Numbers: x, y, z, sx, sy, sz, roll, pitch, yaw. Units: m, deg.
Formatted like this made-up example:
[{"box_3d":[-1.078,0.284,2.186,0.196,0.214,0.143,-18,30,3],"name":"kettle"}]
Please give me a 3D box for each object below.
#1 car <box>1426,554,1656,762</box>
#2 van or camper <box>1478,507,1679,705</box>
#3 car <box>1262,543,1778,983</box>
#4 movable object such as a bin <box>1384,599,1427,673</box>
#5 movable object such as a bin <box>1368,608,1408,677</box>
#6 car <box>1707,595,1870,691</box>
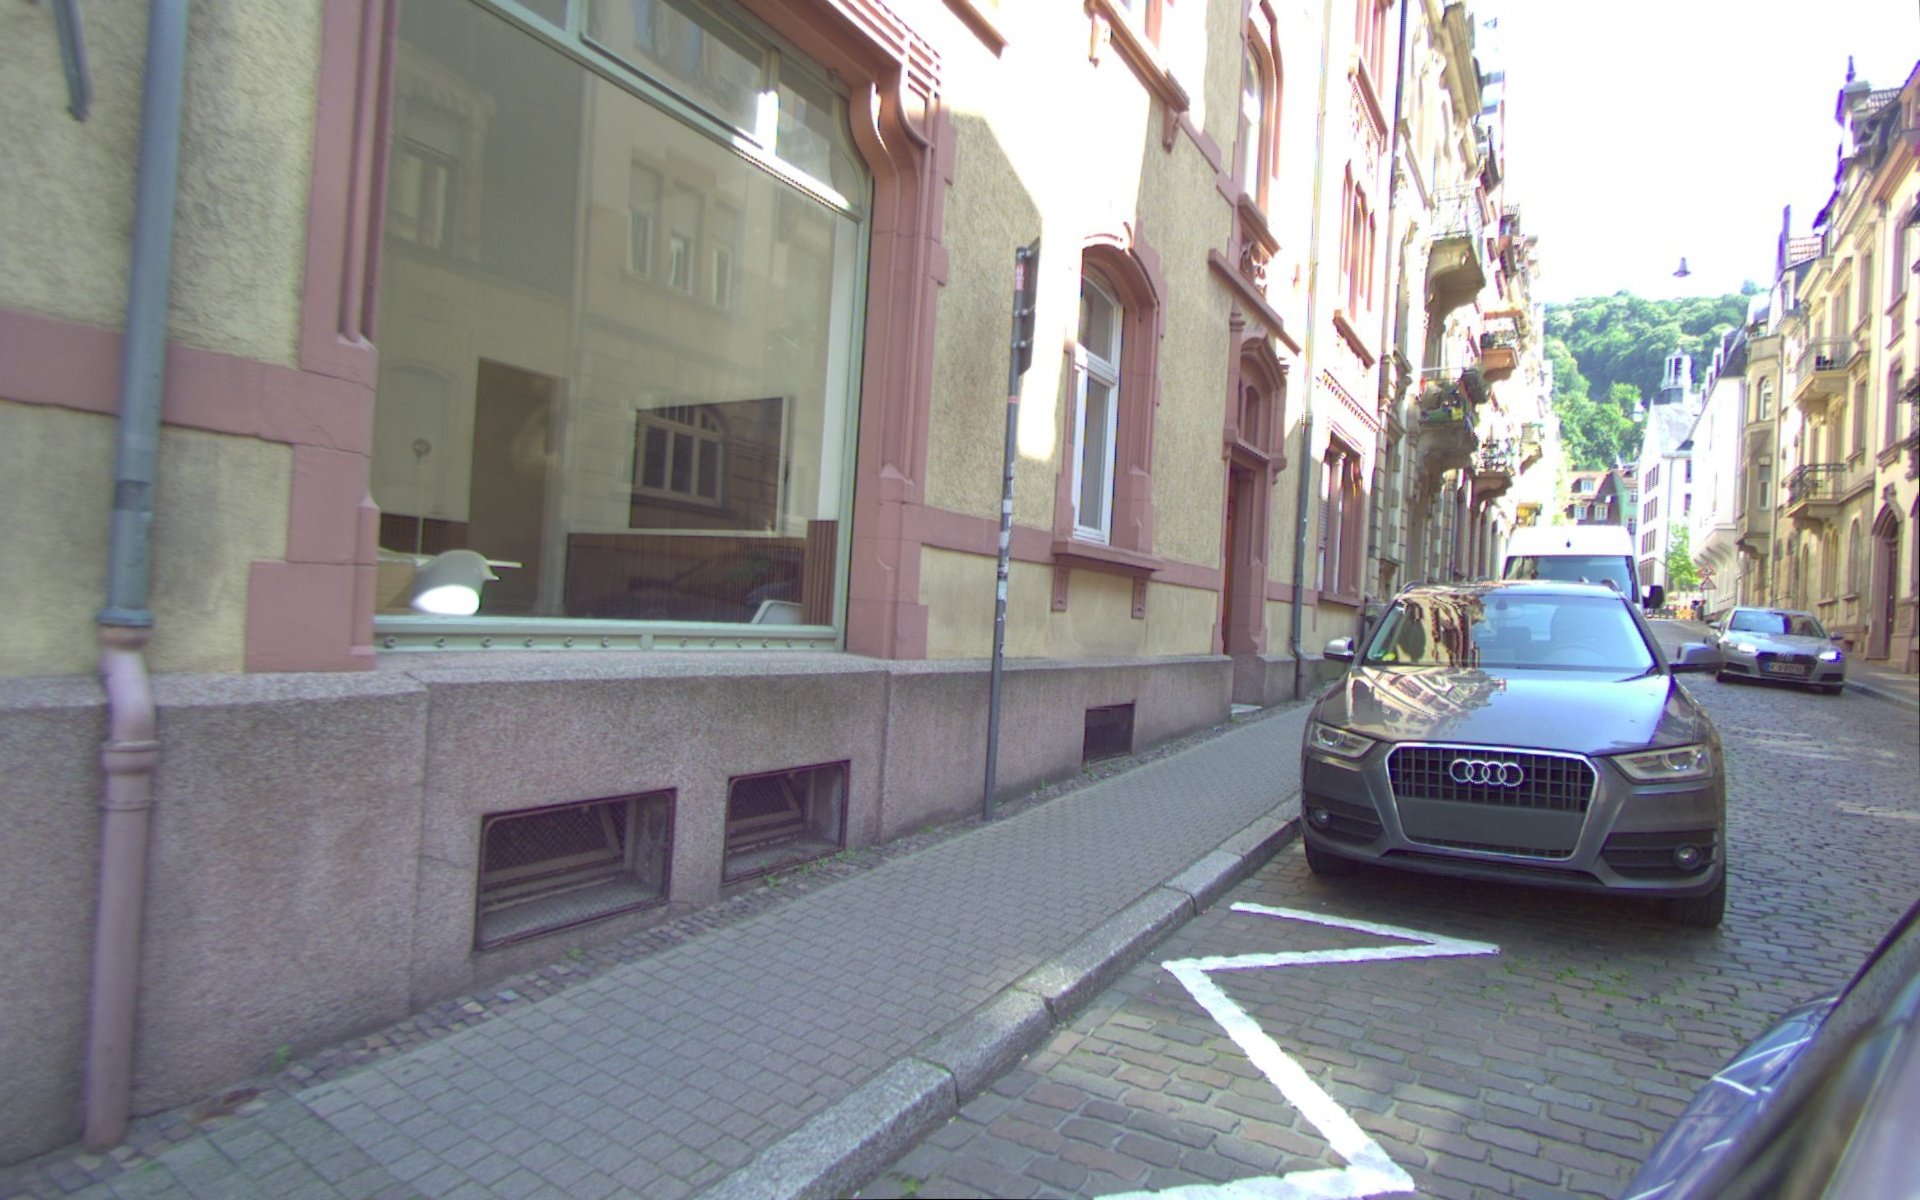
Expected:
[{"box_3d":[6.099,0.470,10.539,1.749,1.727,3.953,0,0,33],"name":"car"},{"box_3d":[10.075,-0.012,16.581,2.210,2.551,6.692,3,2,32],"name":"van or camper"},{"box_3d":[3.276,0.576,5.985,1.848,1.603,4.212,1,0,31],"name":"car"},{"box_3d":[6.916,0.558,15.705,0.514,1.103,0.416,2,-1,33],"name":"movable object such as a bin"},{"box_3d":[6.251,0.620,14.780,0.437,0.969,0.345,2,-1,33],"name":"movable object such as a bin"},{"box_3d":[15.522,0.731,19.183,1.864,1.511,4.330,3,1,33],"name":"car"}]
